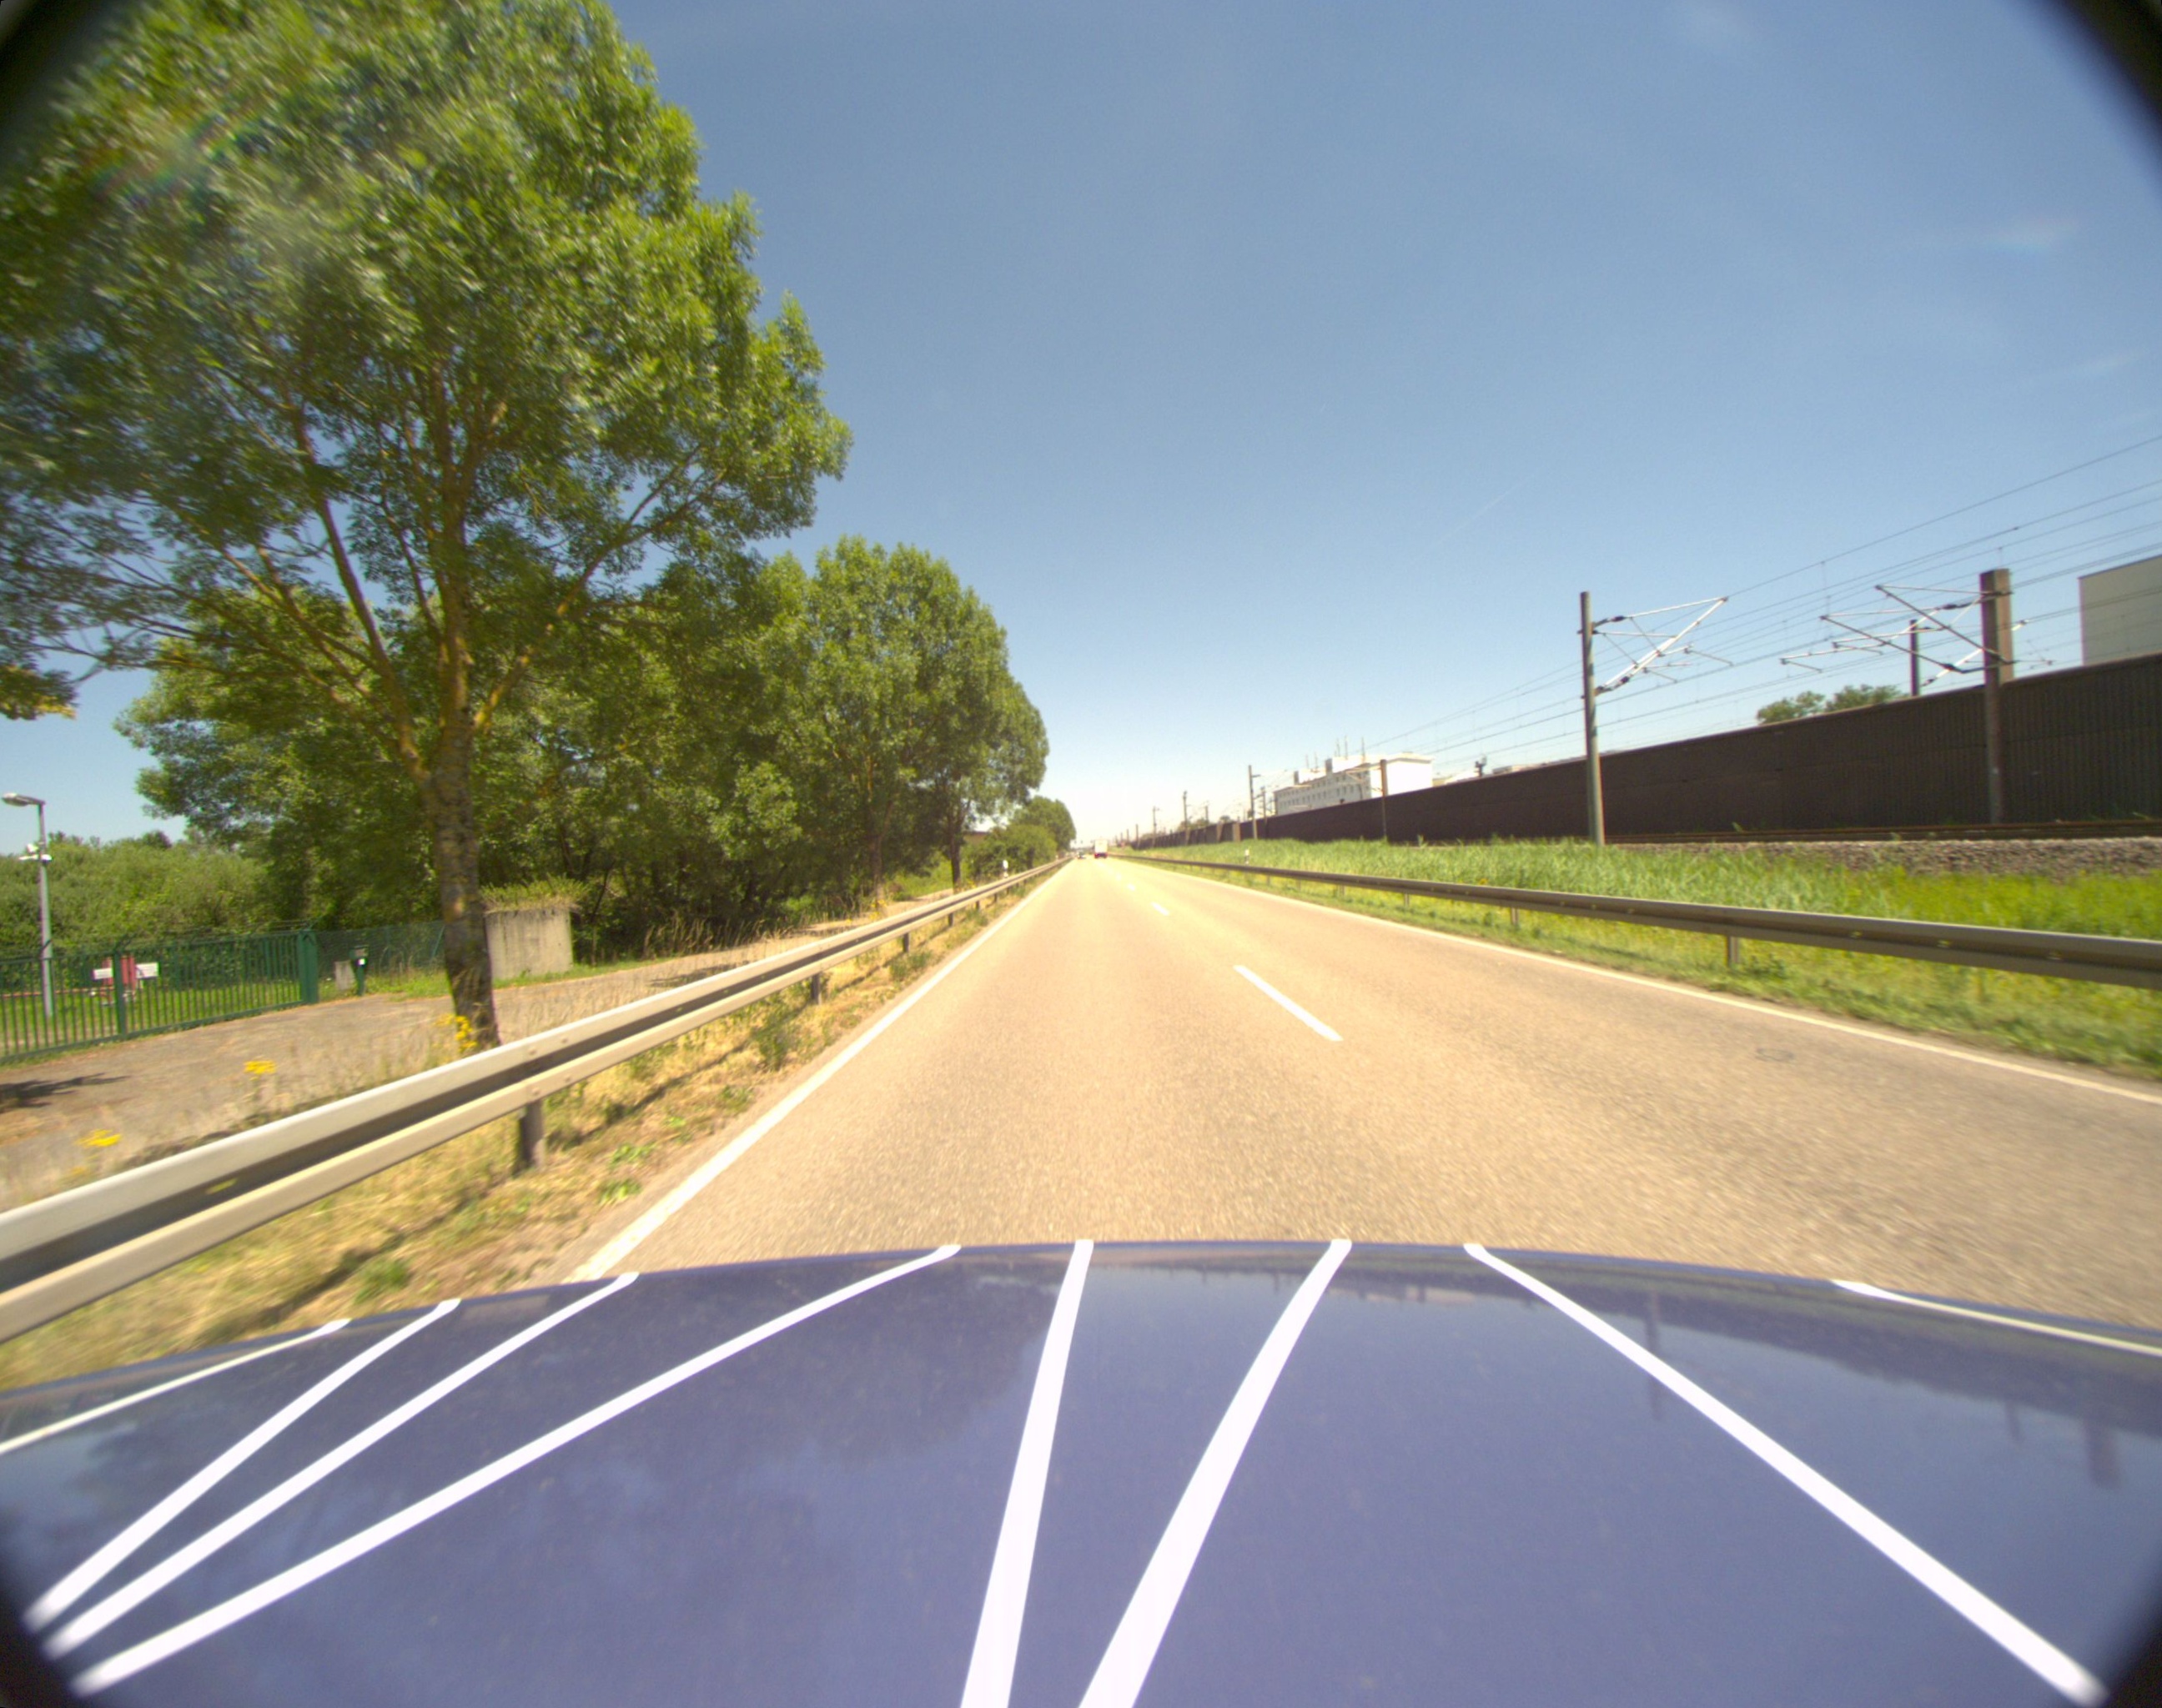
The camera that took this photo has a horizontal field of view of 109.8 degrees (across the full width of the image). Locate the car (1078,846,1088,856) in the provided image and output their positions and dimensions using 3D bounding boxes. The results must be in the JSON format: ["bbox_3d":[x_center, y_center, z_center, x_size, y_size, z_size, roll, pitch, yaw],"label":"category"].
[{"bbox_3d":[0.398,-0.579,164.609,1.999,2.002,3.999,-3,0,-1],"label":"car"}]

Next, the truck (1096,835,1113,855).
[{"bbox_3d":[5.020,-1.959,162.964,2.805,3.955,10.496,-1,1,-2],"label":"truck"}]
